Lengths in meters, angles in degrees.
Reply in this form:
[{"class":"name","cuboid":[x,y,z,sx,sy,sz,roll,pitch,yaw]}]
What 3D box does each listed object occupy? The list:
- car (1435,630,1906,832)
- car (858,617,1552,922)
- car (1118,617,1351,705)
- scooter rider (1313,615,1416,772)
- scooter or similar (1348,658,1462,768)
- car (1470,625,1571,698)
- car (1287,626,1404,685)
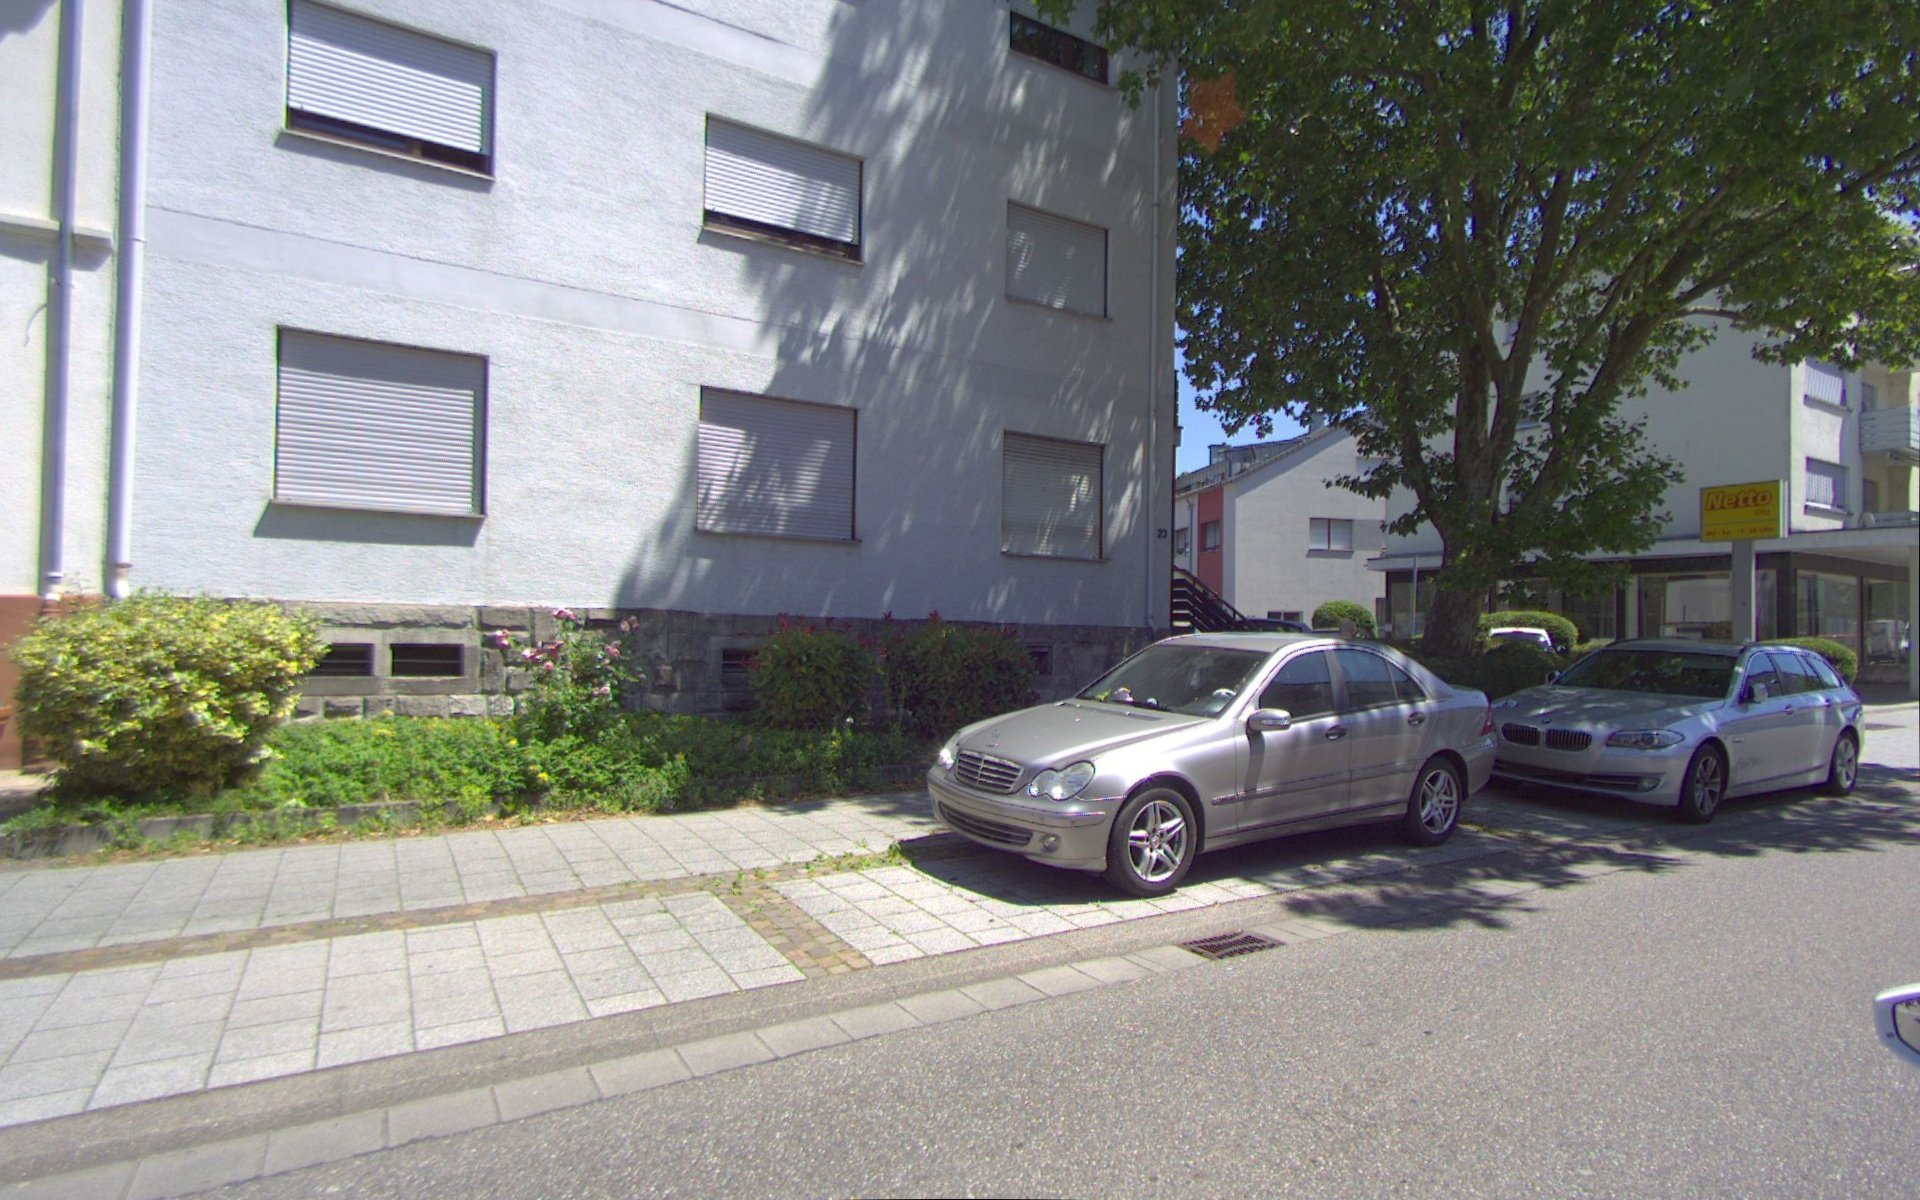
[{"class":"car","cuboid":[7.040,1.068,9.777,5.094,1.471,1.970,1,-1,-32]},{"class":"car","cuboid":[1.880,0.899,7.066,4.814,1.471,1.970,1,-1,-32]},{"class":"car","cuboid":[5.270,1.150,19.397,4.041,1.565,1.805,1,-2,-18]},{"class":"scooter rider","cuboid":[4.348,0.974,10.795,0.867,1.596,0.585,1,1,-30]},{"class":"scooter or similar","cuboid":[4.928,1.220,11.124,1.016,1.113,0.660,1,1,-30]},{"class":"car","cuboid":[12.735,1.341,22.927,1.863,1.506,3.990,0,-2,28]},{"class":"car","cuboid":[10.581,1.489,27.443,1.726,1.481,3.909,-2,-3,42]}]
